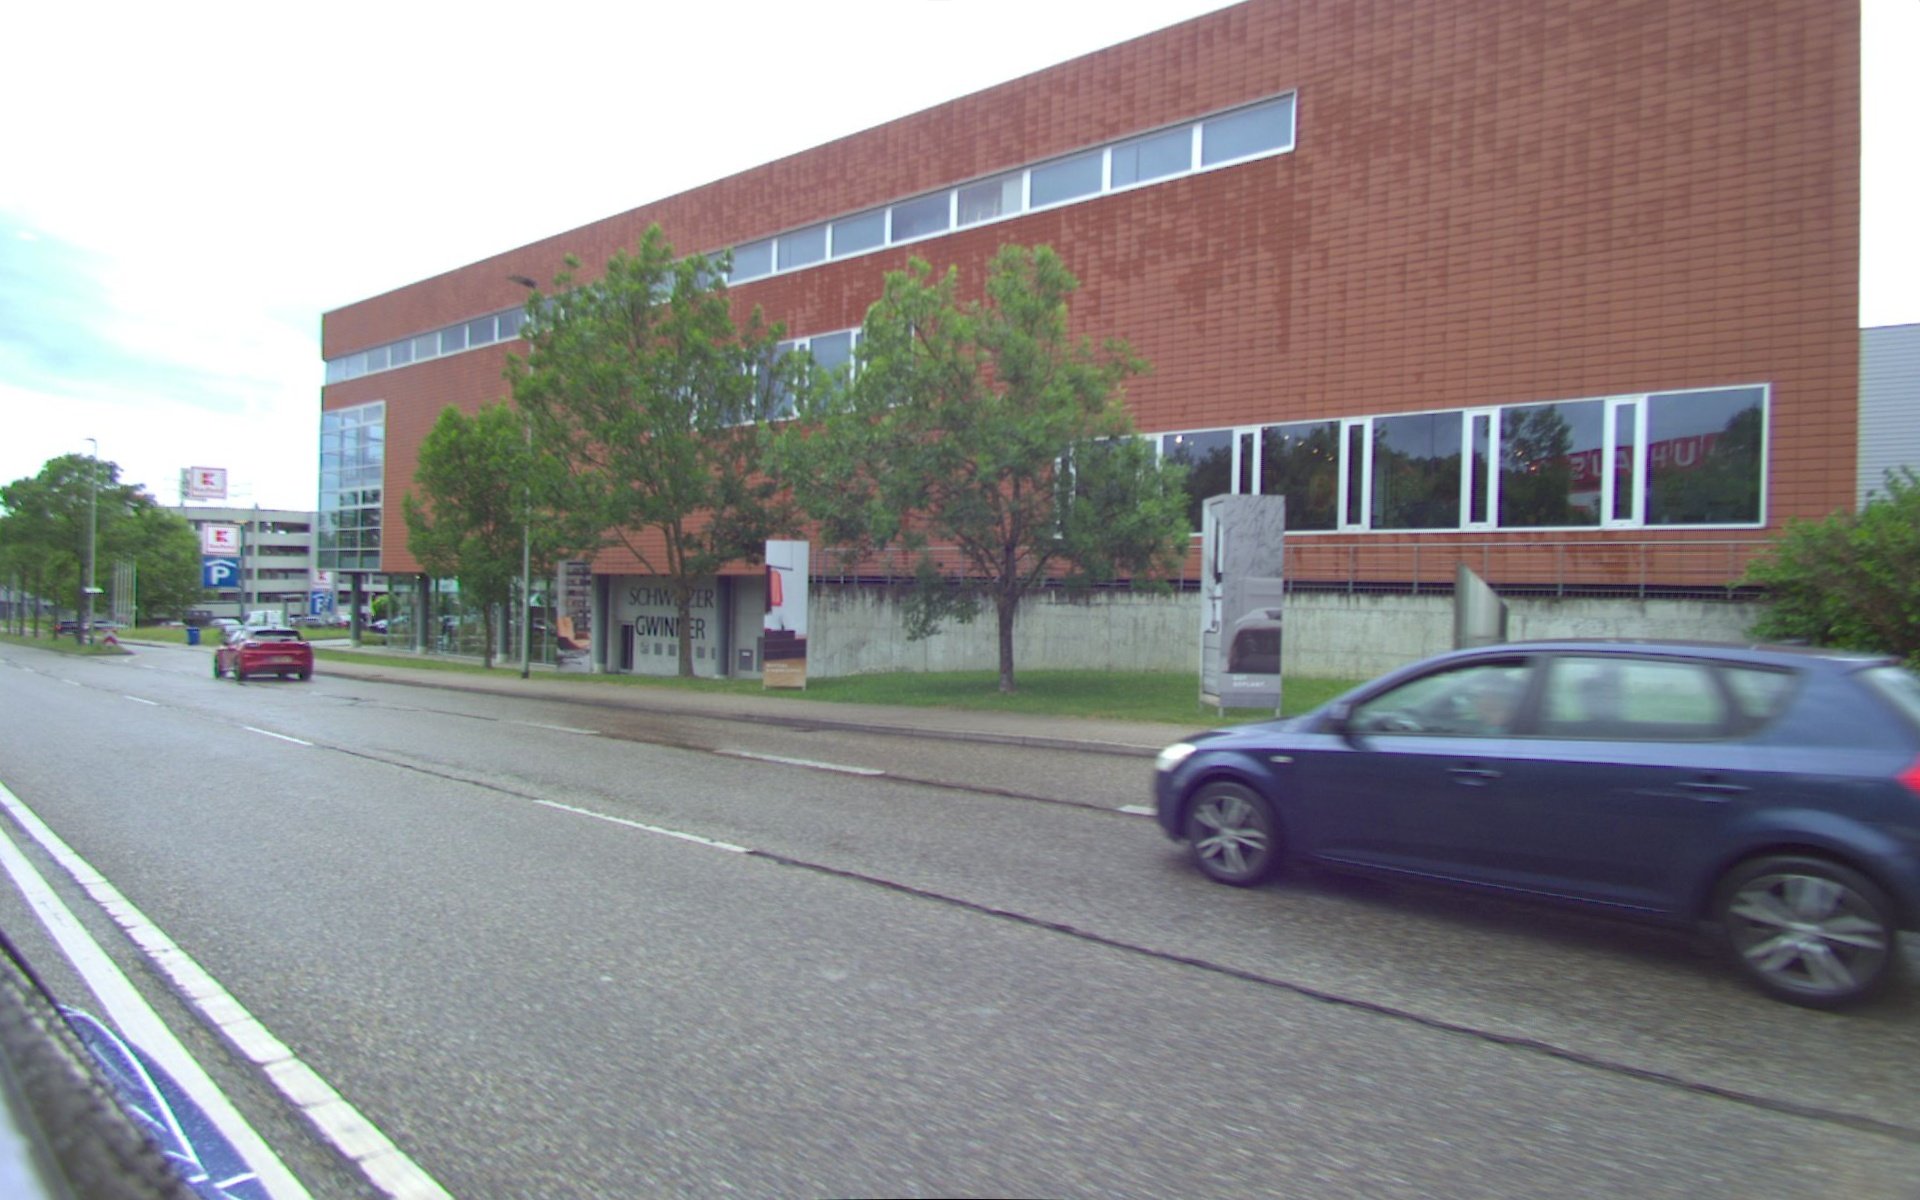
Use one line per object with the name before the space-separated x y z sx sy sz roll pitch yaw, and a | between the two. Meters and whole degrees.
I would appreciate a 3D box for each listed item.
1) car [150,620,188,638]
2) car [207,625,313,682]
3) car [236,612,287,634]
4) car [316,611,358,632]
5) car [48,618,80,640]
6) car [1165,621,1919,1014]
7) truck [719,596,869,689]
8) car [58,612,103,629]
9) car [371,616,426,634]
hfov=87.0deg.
car | -70.616 2.584 90.321 4.059 1.630 1.810 -1 -2 39
car | -20.105 1.481 29.003 4.217 1.518 1.657 -1 -3 44
car | -54.374 1.776 78.732 4.428 1.630 1.813 -1 -2 34
car | -42.225 1.449 68.611 3.449 1.293 1.490 0 0 42
car | -71.345 2.279 80.545 1.806 1.630 4.004 -1 0 -43
car | 3.260 0.869 5.327 4.001 1.465 1.717 -1 -3 44
truck | -6.327 1.611 39.444 2.020 3.333 6.080 0 -1 35
car | -97.081 2.310 111.764 1.821 1.864 4.007 0 -2 -8
car | -51.417 2.283 92.750 1.833 1.630 4.007 -1 -2 41
